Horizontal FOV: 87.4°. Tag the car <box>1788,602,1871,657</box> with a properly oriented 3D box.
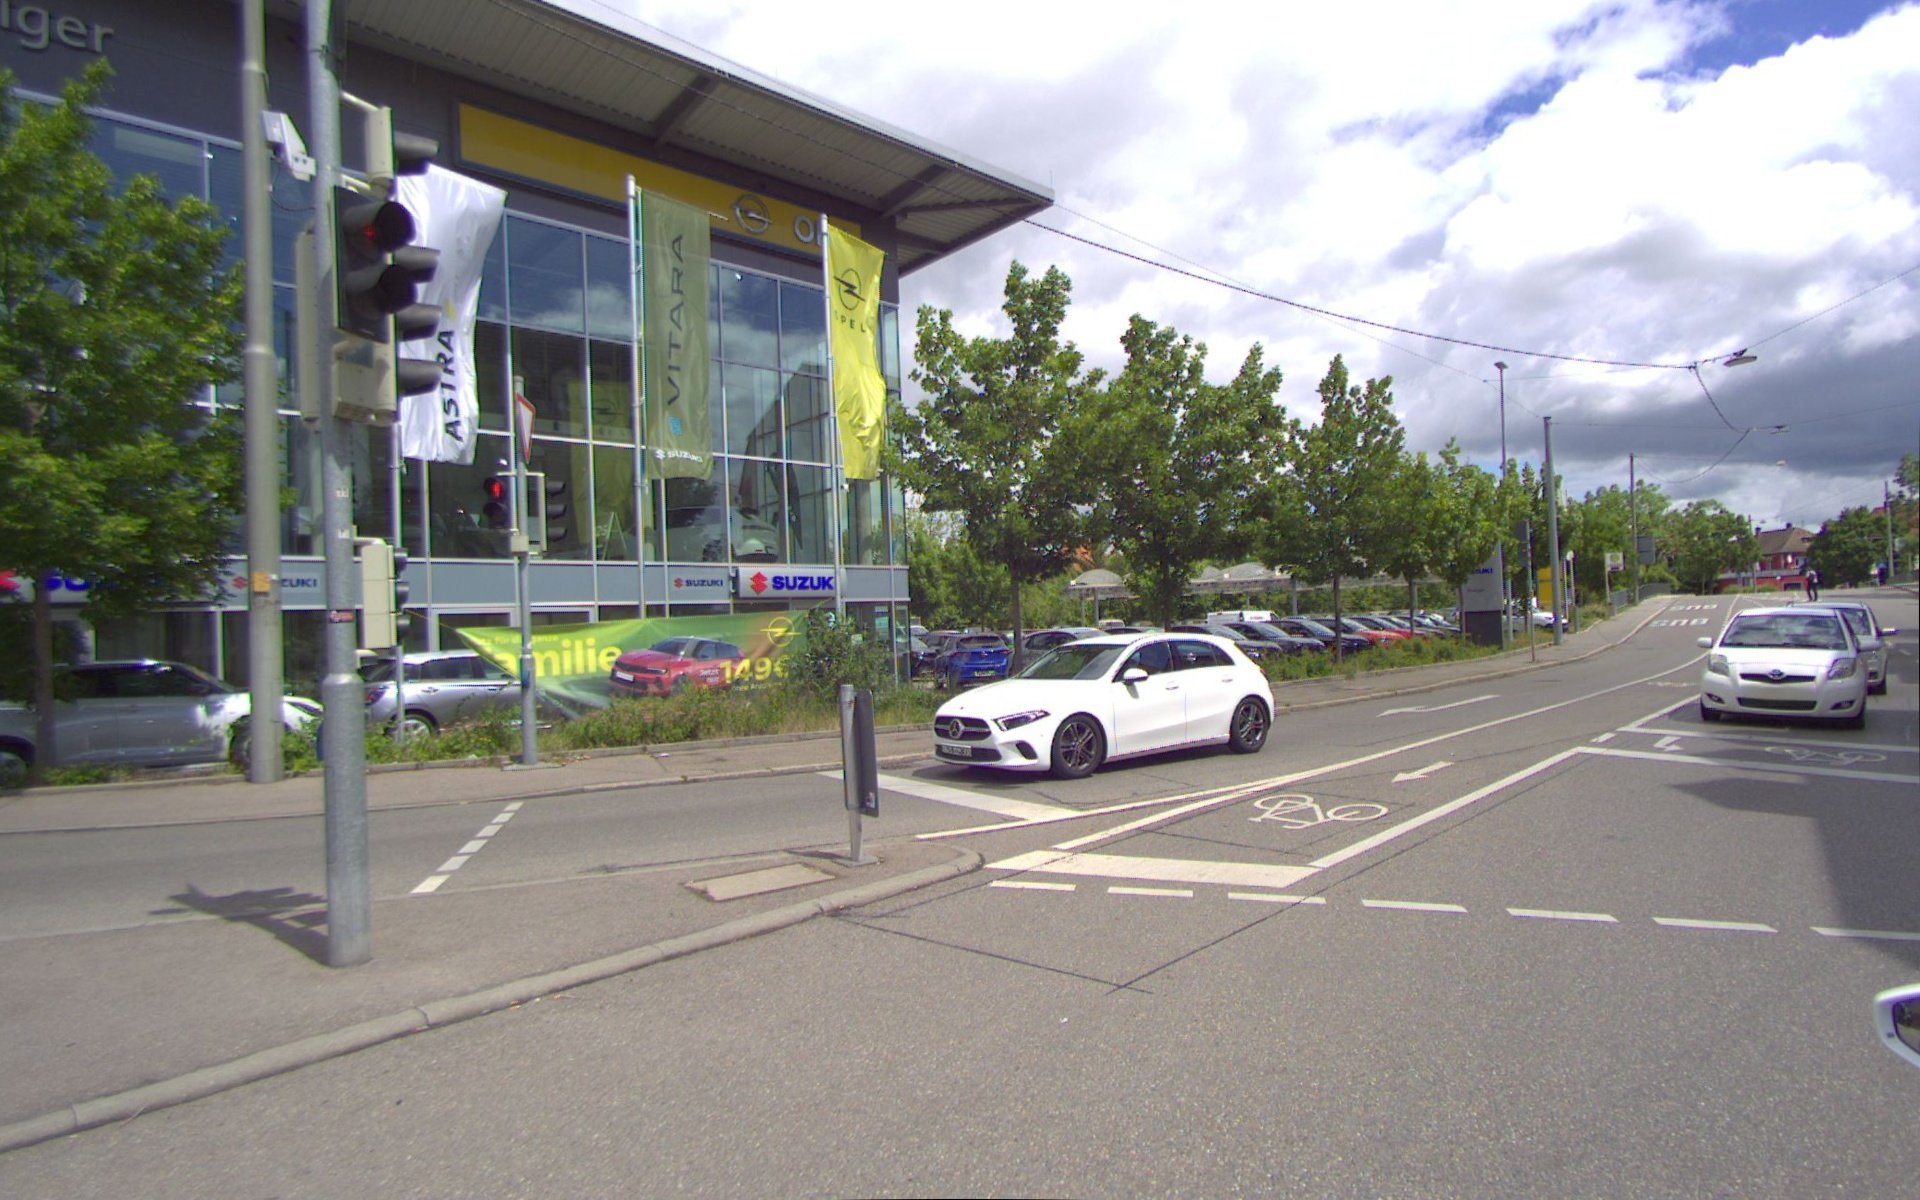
[{"bbox_3d":[25.185,0.834,29.177,1.698,1.504,3.308,-1,-1,39],"label":"car"}]

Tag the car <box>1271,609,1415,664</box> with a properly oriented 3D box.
[{"bbox_3d":[12.023,1.162,31.641,3.784,1.517,1.803,-4,-2,41],"label":"car"}]

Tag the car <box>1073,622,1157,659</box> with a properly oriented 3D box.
[{"bbox_3d":[6.697,1.767,43.572,3.278,1.391,1.510,-4,-2,40],"label":"car"}]

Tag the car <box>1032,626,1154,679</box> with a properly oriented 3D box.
[{"bbox_3d":[3.964,1.585,30.076,3.278,1.391,1.510,-4,-2,40],"label":"car"}]

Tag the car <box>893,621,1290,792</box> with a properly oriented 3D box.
[{"bbox_3d":[1.588,1.061,11.195,4.421,1.516,1.707,0,-4,-37],"label":"car"}]

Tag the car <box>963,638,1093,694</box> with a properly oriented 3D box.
[{"bbox_3d":[1.847,1.844,27.788,3.278,1.391,1.510,-4,-2,40],"label":"car"}]

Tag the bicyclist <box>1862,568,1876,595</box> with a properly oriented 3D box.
[{"bbox_3d":[66.390,-1.353,73.358,0.677,1.849,1.074,-2,-5,44],"label":"bicyclist"}]

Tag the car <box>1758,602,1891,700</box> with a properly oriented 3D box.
[{"bbox_3d":[16.163,0.863,18.701,1.701,1.602,4.293,-1,-1,43],"label":"car"}]

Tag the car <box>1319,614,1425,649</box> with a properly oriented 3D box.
[{"bbox_3d":[19.246,1.476,47.148,4.435,1.455,2.013,-3,-1,21],"label":"car"}]

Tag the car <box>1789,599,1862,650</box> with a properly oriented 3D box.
[{"bbox_3d":[28.872,0.794,33.588,1.698,1.602,3.982,-1,-1,39],"label":"car"}]

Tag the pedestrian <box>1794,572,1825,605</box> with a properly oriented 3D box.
[{"bbox_3d":[49.138,-0.672,58.096,0.985,1.861,1.031,-3,1,-23],"label":"pedestrian"}]

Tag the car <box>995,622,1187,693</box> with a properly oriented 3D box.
[{"bbox_3d":[2.898,1.321,22.854,4.026,1.412,1.801,-5,-2,44],"label":"car"}]

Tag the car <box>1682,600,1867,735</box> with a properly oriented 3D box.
[{"bbox_3d":[11.343,0.818,13.886,1.701,1.602,3.976,-1,-1,43],"label":"car"}]

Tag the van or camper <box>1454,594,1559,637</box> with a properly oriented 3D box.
[{"bbox_3d":[28.567,0.783,52.535,4.879,1.989,1.983,-2,0,-18],"label":"van or camper"}]

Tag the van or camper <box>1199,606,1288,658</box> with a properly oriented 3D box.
[{"bbox_3d":[12.498,1.378,44.117,1.971,2.040,4.663,-4,-1,40],"label":"van or camper"}]

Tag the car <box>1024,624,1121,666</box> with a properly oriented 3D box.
[{"bbox_3d":[4.191,1.707,37.685,3.278,1.391,1.510,-4,-2,40],"label":"car"}]

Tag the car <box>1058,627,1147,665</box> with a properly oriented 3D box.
[{"bbox_3d":[5.826,1.891,41.172,3.278,1.391,1.510,-4,-2,40],"label":"car"}]

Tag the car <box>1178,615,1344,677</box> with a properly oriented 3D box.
[{"bbox_3d":[8.337,1.307,28.003,4.010,1.517,1.803,-4,-2,41],"label":"car"}]

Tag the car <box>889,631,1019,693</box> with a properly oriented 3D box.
[{"bbox_3d":[-0.170,1.569,25.274,2.978,1.391,1.510,-4,-2,42],"label":"car"}]

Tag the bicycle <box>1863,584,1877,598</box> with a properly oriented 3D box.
[{"bbox_3d":[66.432,-0.666,73.350,0.680,0.889,2.090,-3,-5,44],"label":"bicycle"}]

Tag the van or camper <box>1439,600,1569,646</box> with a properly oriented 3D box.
[{"bbox_3d":[23.844,1.046,44.143,1.987,1.773,4.622,-2,-1,-45],"label":"van or camper"}]

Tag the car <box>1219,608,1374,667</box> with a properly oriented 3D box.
[{"bbox_3d":[9.949,1.133,29.861,3.937,1.517,1.803,-4,-2,41],"label":"car"}]

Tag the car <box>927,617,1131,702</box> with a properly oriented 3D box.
[{"bbox_3d":[1.343,1.240,20.769,3.947,1.517,1.801,-5,-2,44],"label":"car"}]

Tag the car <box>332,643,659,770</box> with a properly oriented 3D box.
[{"bbox_3d":[-7.153,1.529,15.758,4.278,1.583,1.923,0,-1,-45],"label":"car"}]

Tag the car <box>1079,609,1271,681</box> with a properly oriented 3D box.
[{"bbox_3d":[5.144,1.114,24.348,4.160,1.517,1.803,-4,-2,41],"label":"car"}]

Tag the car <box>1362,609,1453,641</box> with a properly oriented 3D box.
[{"bbox_3d":[23.555,1.324,52.953,3.920,1.486,1.819,-2,-1,2],"label":"car"}]

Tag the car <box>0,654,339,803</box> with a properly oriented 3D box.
[{"bbox_3d":[-10.379,1.518,12.545,4.269,1.493,1.927,0,-1,-39],"label":"car"}]

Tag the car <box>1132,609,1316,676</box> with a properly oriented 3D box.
[{"bbox_3d":[6.826,1.139,26.177,4.231,1.517,1.803,-4,-2,41],"label":"car"}]

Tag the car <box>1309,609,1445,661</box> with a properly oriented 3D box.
[{"bbox_3d":[13.943,1.179,33.683,3.804,1.517,1.804,-4,-2,40],"label":"car"}]
